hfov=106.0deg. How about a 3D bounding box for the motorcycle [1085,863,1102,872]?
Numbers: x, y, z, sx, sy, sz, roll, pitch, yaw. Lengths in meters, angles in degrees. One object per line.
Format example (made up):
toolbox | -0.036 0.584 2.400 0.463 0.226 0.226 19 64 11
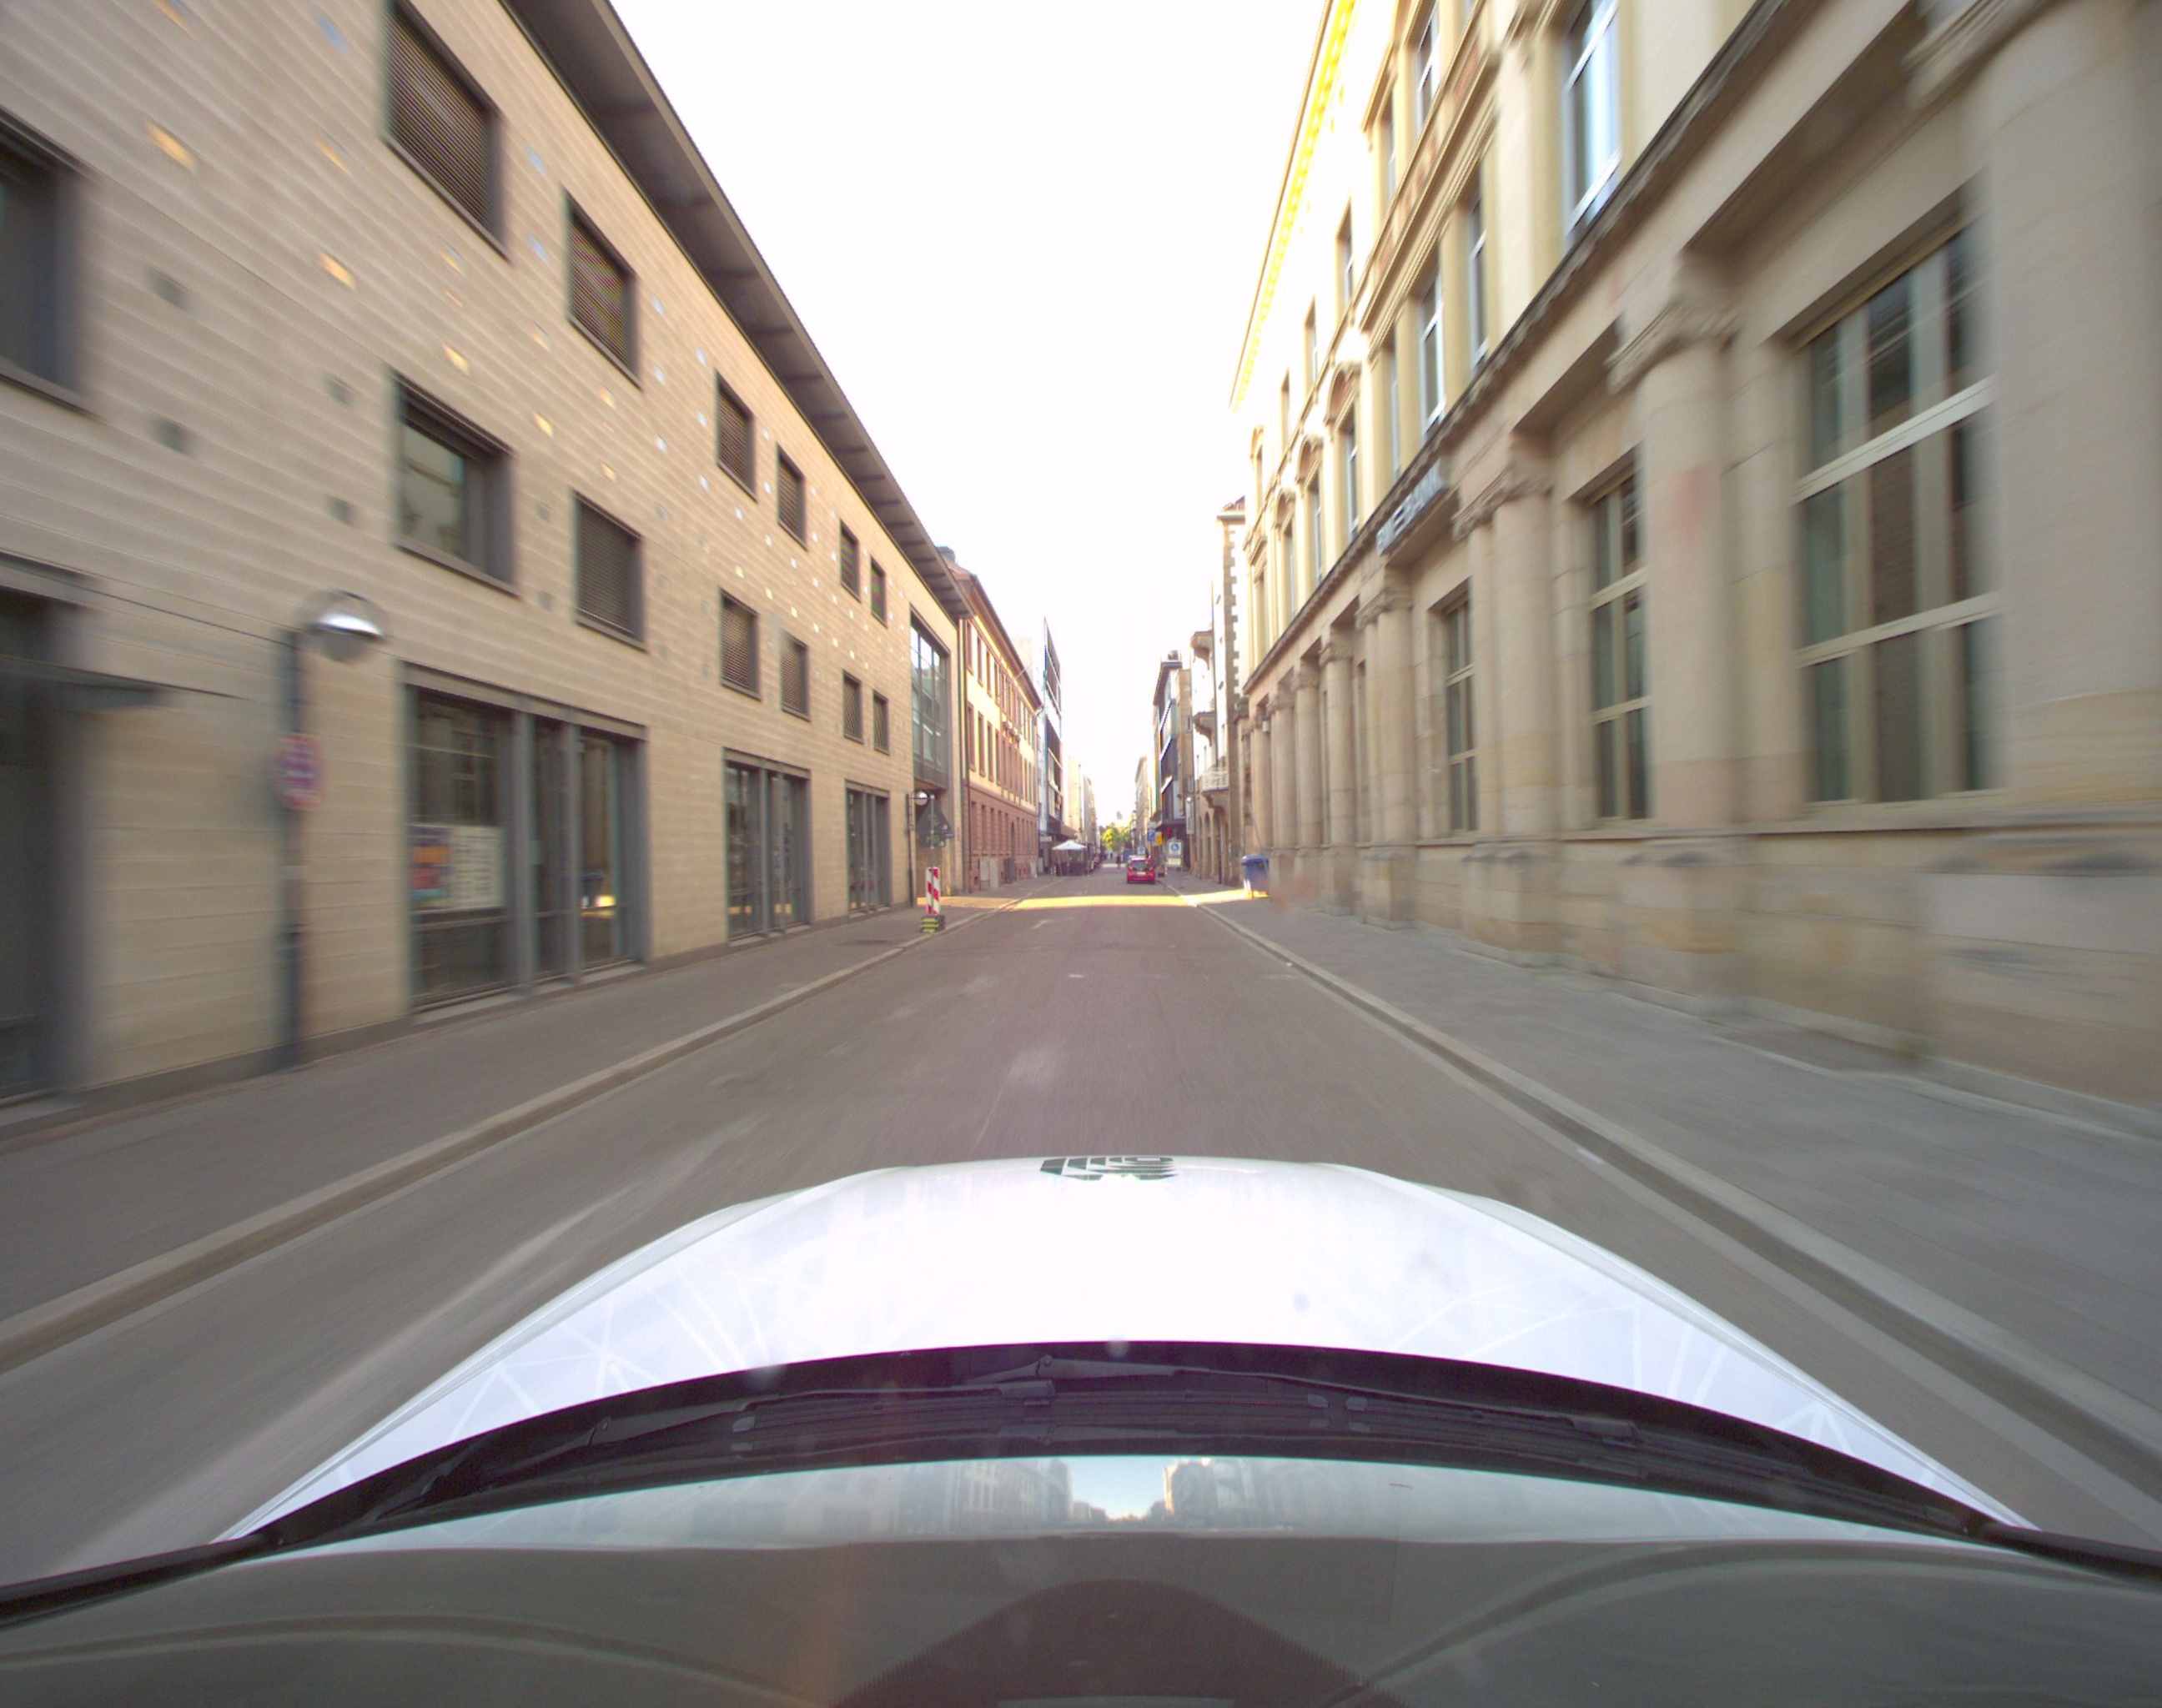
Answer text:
motorcycle | 1.361 1.435 87.413 1.796 0.875 0.560 -1 0 -2

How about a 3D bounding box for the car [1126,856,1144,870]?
car | 6.427 1.045 96.920 1.986 1.611 4.001 -1 0 1

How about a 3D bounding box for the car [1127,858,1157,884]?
car | 3.513 0.980 47.411 1.642 1.427 3.538 1 0 3

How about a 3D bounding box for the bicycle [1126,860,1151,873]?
bicycle | 4.864 1.061 69.235 2.046 1.134 0.649 -1 0 -2

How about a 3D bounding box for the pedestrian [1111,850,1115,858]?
pedestrian | 6.760 -0.030 174.286 0.801 1.672 0.889 -2 0 4

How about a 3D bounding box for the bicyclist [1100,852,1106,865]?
bicyclist | 2.840 0.636 104.650 0.635 1.641 0.770 -2 0 -7

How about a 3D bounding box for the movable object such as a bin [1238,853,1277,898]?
movable object such as a bin | 5.715 0.678 26.415 0.986 1.392 1.241 -2 0 2

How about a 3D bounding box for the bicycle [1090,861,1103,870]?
bicycle | 1.800 1.333 94.259 1.526 0.896 0.481 -1 -1 -26

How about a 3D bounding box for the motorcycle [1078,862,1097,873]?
motorcycle | 0.603 1.344 79.241 1.796 1.040 0.493 -1 -1 -2

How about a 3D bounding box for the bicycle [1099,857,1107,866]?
bicycle | 2.847 0.930 104.698 0.635 1.157 2.496 -2 0 -6

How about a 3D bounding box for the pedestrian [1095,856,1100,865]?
pedestrian | 2.803 1.086 138.294 0.675 1.623 0.626 -1 -1 4

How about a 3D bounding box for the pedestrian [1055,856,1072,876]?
pedestrian | -1.371 0.949 63.451 1.286 1.487 0.661 -1 -1 0

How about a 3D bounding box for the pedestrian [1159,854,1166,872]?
pedestrian | 7.126 0.783 71.206 0.653 1.487 0.493 -1 -1 4

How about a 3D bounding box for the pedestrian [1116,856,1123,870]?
pedestrian | 4.637 1.102 98.270 0.862 1.713 0.852 -1 -1 1

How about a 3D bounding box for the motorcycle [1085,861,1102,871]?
motorcycle | 1.332 1.305 88.446 1.796 0.989 0.560 -1 0 -2
